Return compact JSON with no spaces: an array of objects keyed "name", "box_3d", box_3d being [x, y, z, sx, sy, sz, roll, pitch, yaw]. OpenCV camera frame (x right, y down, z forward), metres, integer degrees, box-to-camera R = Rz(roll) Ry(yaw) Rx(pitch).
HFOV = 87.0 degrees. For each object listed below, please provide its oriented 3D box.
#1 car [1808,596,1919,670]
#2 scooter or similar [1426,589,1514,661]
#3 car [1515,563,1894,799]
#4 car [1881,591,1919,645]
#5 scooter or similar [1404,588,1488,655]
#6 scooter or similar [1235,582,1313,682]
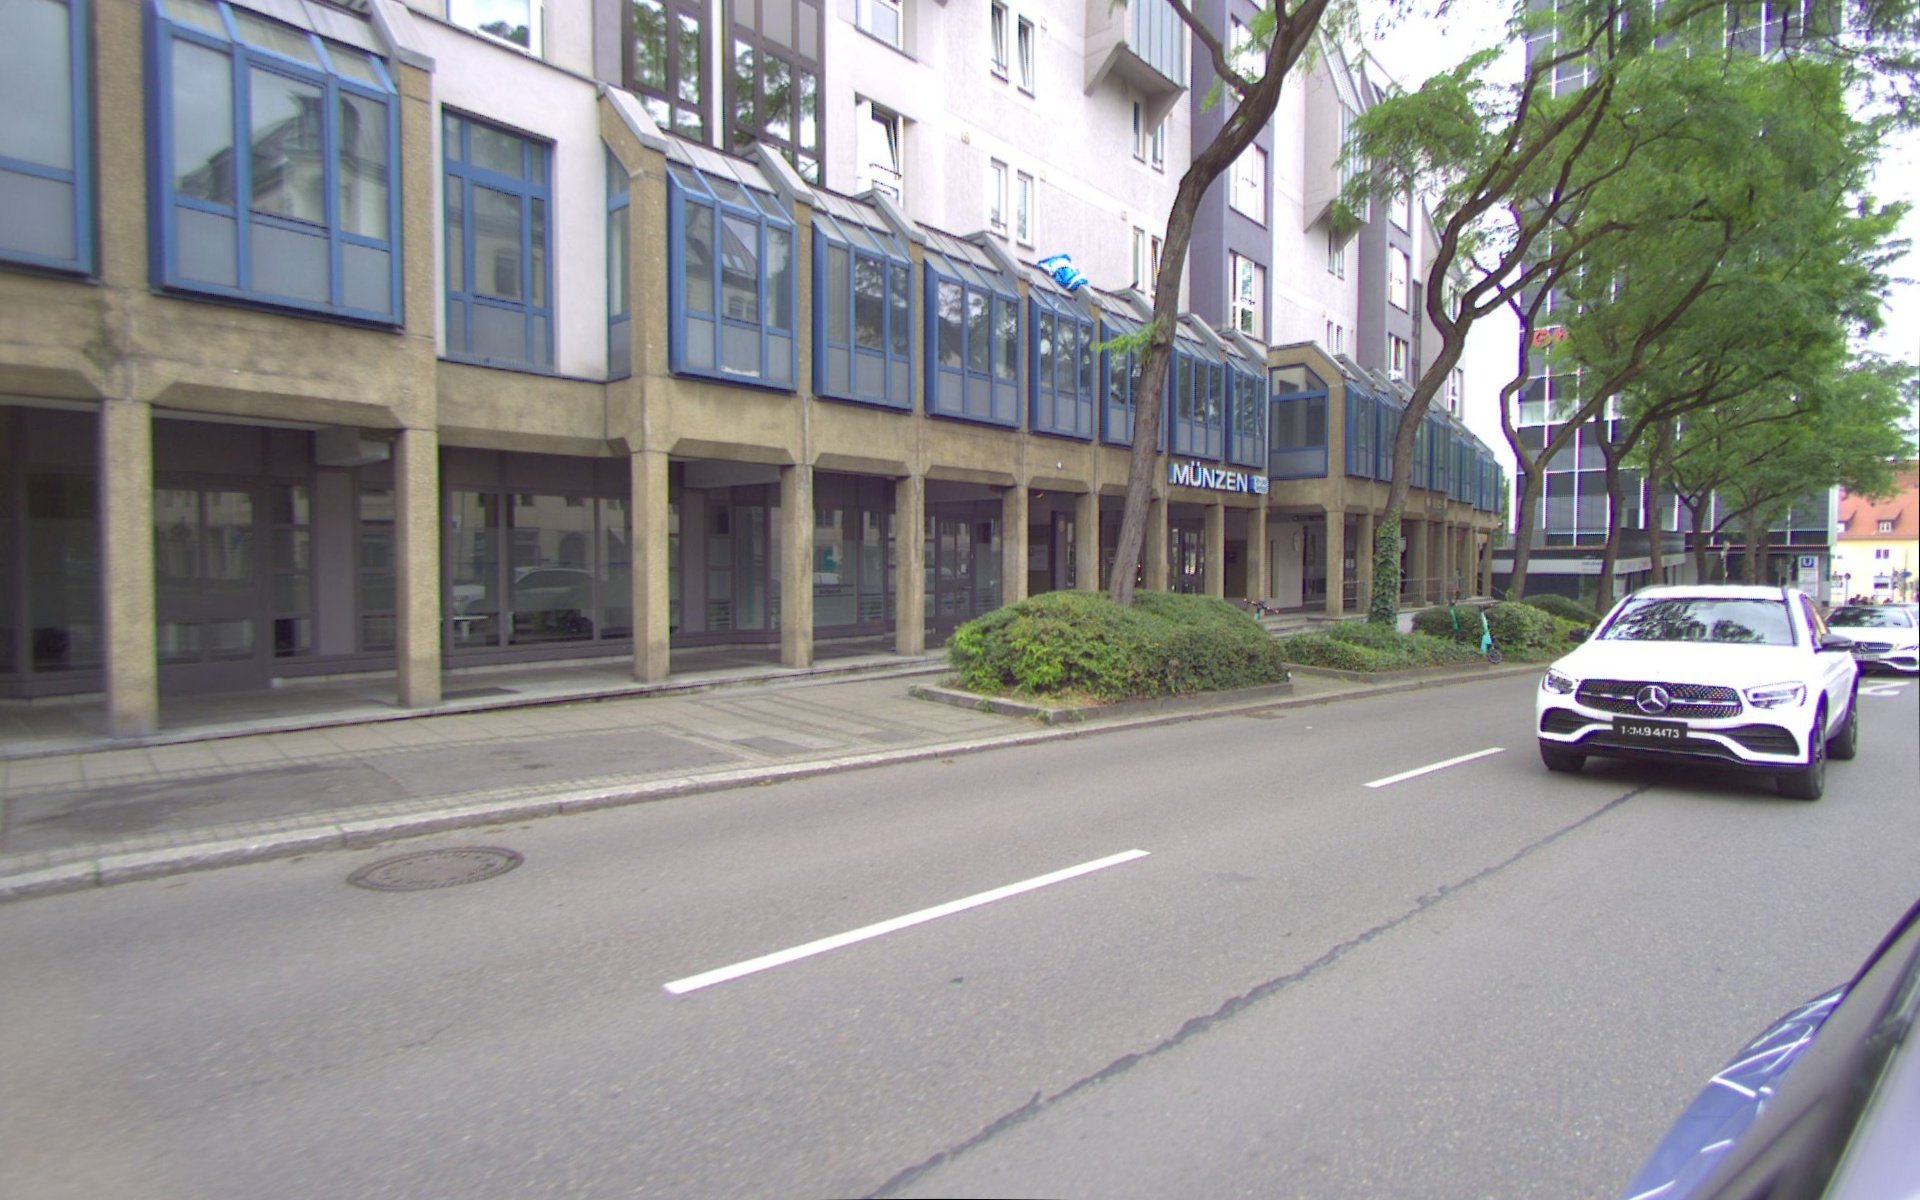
[{"name":"car","box_3d":[19.899,0.646,21.876,4.533,1.404,1.887,-1,1,-43]},{"name":"scooter or similar","box_3d":[10.602,0.504,21.091,1.513,1.452,0.684,0,0,17]},{"name":"car","box_3d":[6.763,0.532,9.050,3.861,1.628,2.057,-1,0,-43]},{"name":"car","box_3d":[30.846,0.539,32.451,3.599,1.632,1.637,-1,0,-43]},{"name":"scooter or similar","box_3d":[10.825,0.476,22.598,1.575,1.452,0.728,0,0,17]},{"name":"scooter or similar","box_3d":[4.753,0.458,15.395,0.564,1.452,1.185,0,0,-16]}]
